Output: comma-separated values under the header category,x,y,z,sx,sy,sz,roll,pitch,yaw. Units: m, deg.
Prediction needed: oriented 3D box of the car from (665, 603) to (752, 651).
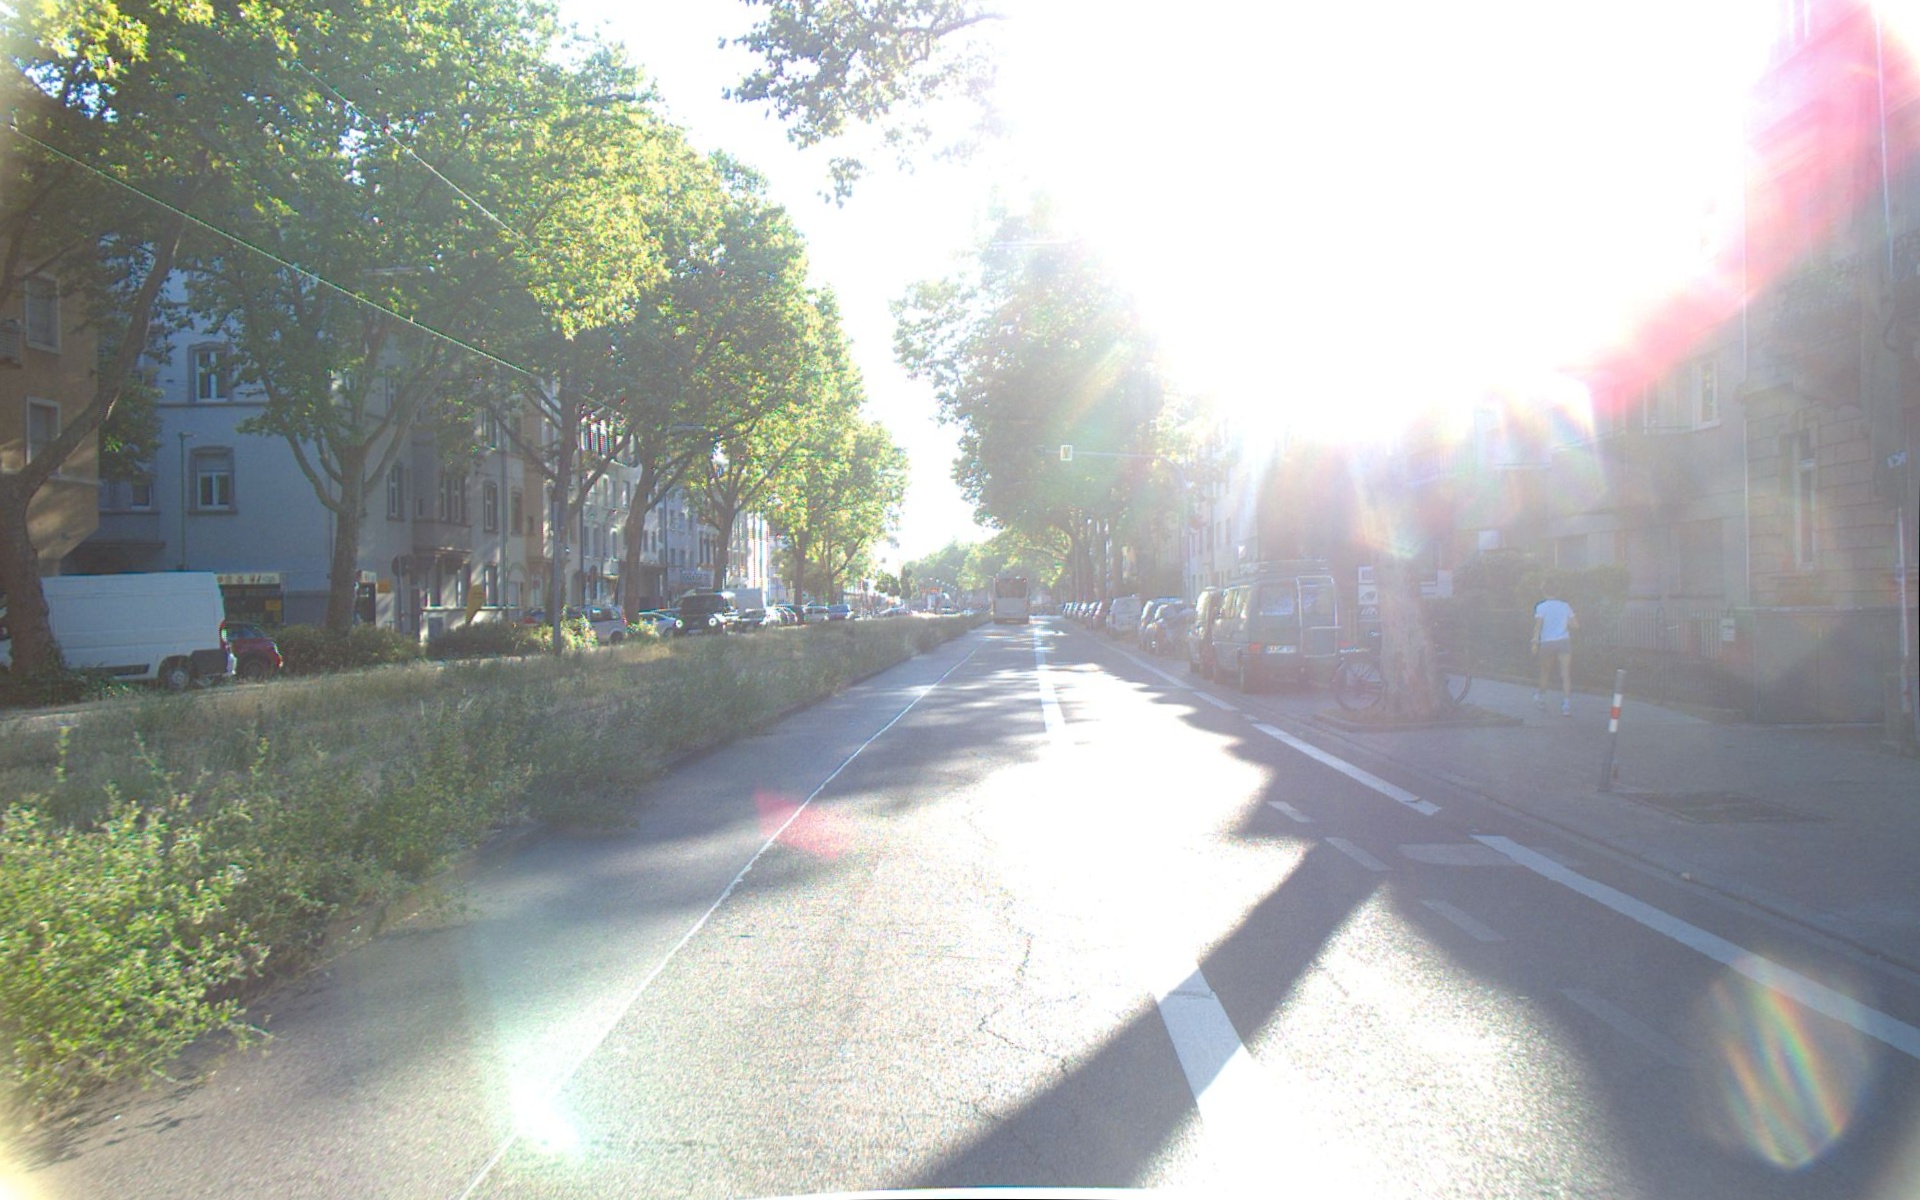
category,x,y,z,sx,sy,sz,roll,pitch,yaw
car,-9.443,1.008,62.441,1.829,1.723,4.780,-1,-1,9

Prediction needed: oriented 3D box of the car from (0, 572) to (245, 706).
category,x,y,z,sx,sy,sz,roll,pitch,yaw
car,-17.798,0.735,33.834,5.458,2.573,2.095,-1,0,-41

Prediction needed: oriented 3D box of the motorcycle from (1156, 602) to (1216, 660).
category,x,y,z,sx,sy,sz,roll,pitch,yaw
motorcycle,5.928,0.797,43.594,0.809,1.422,2.373,-3,0,-10

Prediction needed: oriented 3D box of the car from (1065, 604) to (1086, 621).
category,x,y,z,sx,sy,sz,roll,pitch,yaw
car,10.657,1.147,152.488,1.744,1.542,4.001,-1,0,2

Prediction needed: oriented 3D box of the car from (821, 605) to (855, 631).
category,x,y,z,sx,sy,sz,roll,pitch,yaw
car,-7.878,1.134,107.052,1.753,1.601,4.001,-1,0,2

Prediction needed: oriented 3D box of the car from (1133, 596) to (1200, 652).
category,x,y,z,sx,sy,sz,roll,pitch,yaw
car,6.618,0.782,53.354,1.708,1.720,3.852,-1,-1,1

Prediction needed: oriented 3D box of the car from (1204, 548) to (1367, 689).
category,x,y,z,sx,sy,sz,roll,pitch,yaw
car,5.758,0.344,29.911,1.952,2.297,5.235,-1,-1,1

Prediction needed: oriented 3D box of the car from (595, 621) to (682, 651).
category,x,y,z,sx,sy,sz,roll,pitch,yaw
car,-15.901,1.777,81.818,3.944,1.380,1.570,-1,-1,-30

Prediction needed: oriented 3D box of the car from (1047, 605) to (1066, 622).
category,x,y,z,sx,sy,sz,roll,pitch,yaw
car,9.264,1.284,158.880,1.744,1.542,4.001,-1,0,2

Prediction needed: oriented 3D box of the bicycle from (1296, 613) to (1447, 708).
category,x,y,z,sx,sy,sz,roll,pitch,yaw
bicycle,5.213,0.768,21.013,1.806,1.163,0.348,-1,-1,1

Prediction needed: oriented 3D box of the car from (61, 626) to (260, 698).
category,x,y,z,sx,sy,sz,roll,pitch,yaw
car,-17.716,1.340,36.721,3.676,1.424,1.711,-1,0,-41

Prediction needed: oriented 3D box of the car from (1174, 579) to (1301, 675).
category,x,y,z,sx,sy,sz,roll,pitch,yaw
car,5.830,0.577,35.300,1.952,1.862,4.757,-1,-1,1

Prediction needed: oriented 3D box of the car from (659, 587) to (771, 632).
category,x,y,z,sx,sy,sz,roll,pitch,yaw
car,-15.738,0.612,106.389,6.832,2.725,2.174,-1,-1,-19

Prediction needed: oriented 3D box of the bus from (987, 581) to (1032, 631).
category,x,y,z,sx,sy,sz,roll,pitch,yaw
bus,3.380,0.457,115.428,2.775,3.292,8.181,-1,-1,0

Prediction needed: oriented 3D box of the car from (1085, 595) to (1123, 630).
category,x,y,z,sx,sy,sz,roll,pitch,yaw
car,7.765,0.688,89.503,1.708,1.801,4.988,-1,-1,1

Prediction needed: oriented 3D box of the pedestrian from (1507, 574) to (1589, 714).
category,x,y,z,sx,sy,sz,roll,pitch,yaw
pedestrian,7.135,0.531,20.091,0.649,1.657,0.923,-1,-1,2

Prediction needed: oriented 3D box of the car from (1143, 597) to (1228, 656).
category,x,y,z,sx,sy,sz,roll,pitch,yaw
car,6.467,0.772,47.816,1.952,1.587,3.980,-1,-1,1

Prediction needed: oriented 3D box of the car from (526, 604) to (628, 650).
category,x,y,z,sx,sy,sz,roll,pitch,yaw
car,-16.857,1.185,72.903,3.957,1.915,1.974,0,-1,-37

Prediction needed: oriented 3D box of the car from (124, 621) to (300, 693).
category,x,y,z,sx,sy,sz,roll,pitch,yaw
car,-17.880,1.329,39.557,3.659,1.492,1.719,-2,1,-30

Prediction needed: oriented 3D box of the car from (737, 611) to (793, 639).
category,x,y,z,sx,sy,sz,roll,pitch,yaw
car,-10.872,1.371,92.503,1.708,1.485,4.929,-1,-1,10

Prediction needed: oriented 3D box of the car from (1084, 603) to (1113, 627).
category,x,y,z,sx,sy,sz,roll,pitch,yaw
car,9.431,1.015,112.612,1.744,1.542,4.001,-1,0,2

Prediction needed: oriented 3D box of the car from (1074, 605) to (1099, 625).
category,x,y,z,sx,sy,sz,roll,pitch,yaw
car,9.930,1.162,130.117,1.744,1.542,4.001,-1,0,2

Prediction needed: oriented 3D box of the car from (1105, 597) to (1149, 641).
category,x,y,z,sx,sy,sz,roll,pitch,yaw
car,7.068,0.817,70.295,1.707,1.801,4.396,-1,-1,4

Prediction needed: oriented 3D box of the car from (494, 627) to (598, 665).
category,x,y,z,sx,sy,sz,roll,pitch,yaw
car,-17.287,1.921,69.137,3.957,1.474,1.565,0,-1,-37

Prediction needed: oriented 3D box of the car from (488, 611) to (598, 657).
category,x,y,z,sx,sy,sz,roll,pitch,yaw
car,-16.822,1.360,66.785,3.957,1.754,1.761,0,-1,-37
